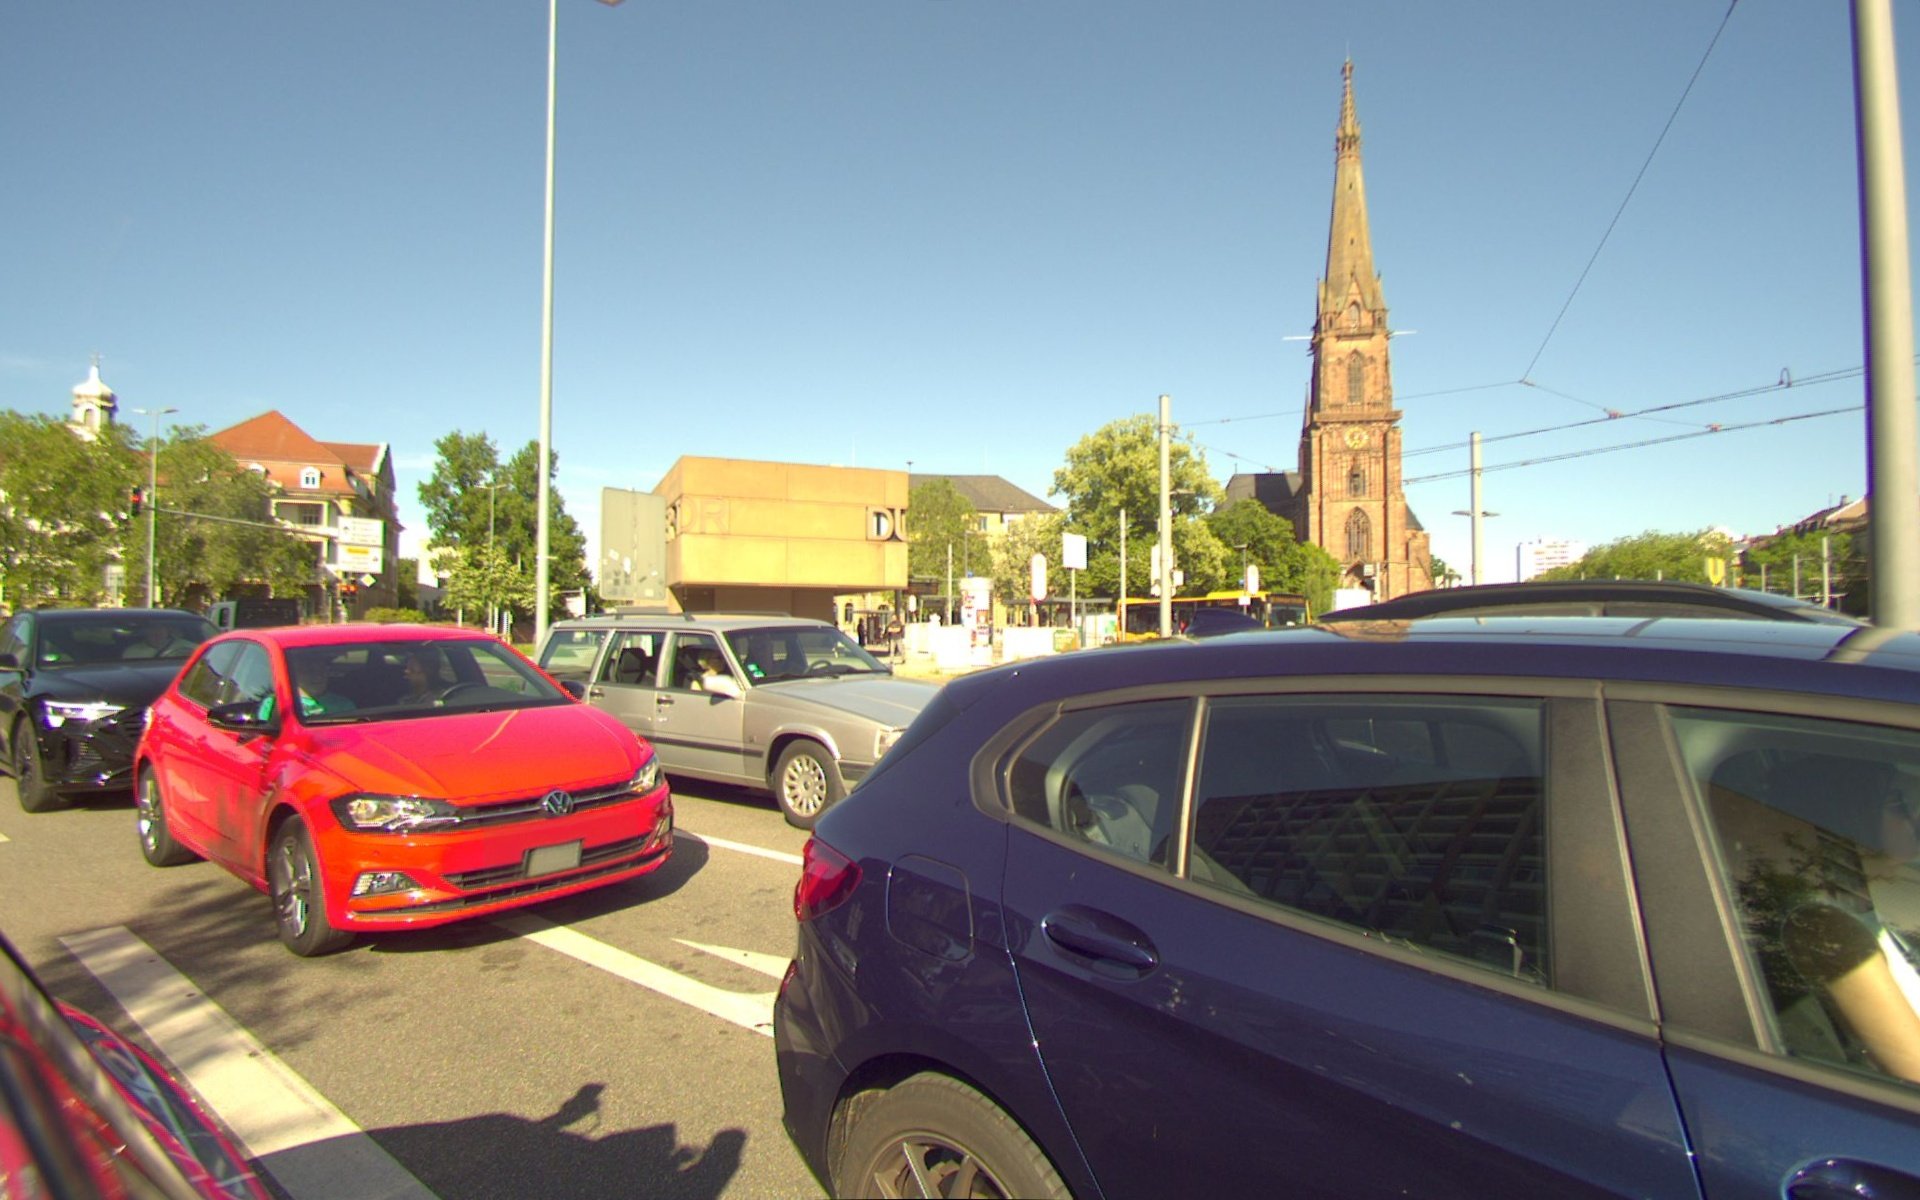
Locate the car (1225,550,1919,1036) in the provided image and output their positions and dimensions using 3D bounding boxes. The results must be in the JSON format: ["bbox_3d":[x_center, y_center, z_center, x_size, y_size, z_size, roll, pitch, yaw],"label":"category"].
[{"bbox_3d":[3.326,0.622,4.104,4.010,1.529,1.738,-2,-2,44],"label":"car"}]

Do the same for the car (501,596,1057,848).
[{"bbox_3d":[-1.689,0.808,8.208,4.745,1.484,1.692,-2,-1,38],"label":"car"}]

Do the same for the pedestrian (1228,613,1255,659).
[{"bbox_3d":[11.802,1.509,42.442,0.882,1.869,0.679,-2,-3,41],"label":"pedestrian"}]

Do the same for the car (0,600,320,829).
[{"bbox_3d":[-7.807,0.877,9.307,4.446,1.628,1.836,-1,-2,38],"label":"car"}]

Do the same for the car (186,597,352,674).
[{"bbox_3d":[-22.675,1.138,33.140,6.191,2.331,2.095,-1,-2,31],"label":"car"}]

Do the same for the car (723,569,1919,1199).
[{"bbox_3d":[1.572,0.694,1.391,4.030,1.456,1.692,-1,-1,42],"label":"car"}]

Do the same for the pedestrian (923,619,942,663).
[{"bbox_3d":[-1.123,1.653,41.048,0.634,1.789,0.470,1,-2,-29],"label":"pedestrian"}]

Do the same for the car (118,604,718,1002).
[{"bbox_3d":[-3.220,0.804,5.678,3.850,1.484,1.653,-2,-1,40],"label":"car"}]

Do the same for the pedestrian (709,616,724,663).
[{"bbox_3d":[-9.275,1.506,38.508,0.460,1.789,0.648,0,-2,-21],"label":"pedestrian"}]

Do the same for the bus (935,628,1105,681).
[{"bbox_3d":[1.512,1.369,26.159,4.174,1.251,1.627,-1,-2,35],"label":"bus"}]

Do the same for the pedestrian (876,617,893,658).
[{"bbox_3d":[-3.352,1.644,44.837,0.468,1.789,0.638,-2,-2,36],"label":"pedestrian"}]

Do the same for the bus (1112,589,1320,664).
[{"bbox_3d":[11.639,1.311,48.109,2.715,3.088,12.201,1,-2,-23],"label":"bus"}]

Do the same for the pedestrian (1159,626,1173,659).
[{"bbox_3d":[9.659,1.971,47.464,0.565,1.525,0.525,-1,-1,16],"label":"pedestrian"}]

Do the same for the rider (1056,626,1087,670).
[{"bbox_3d":[3.797,1.619,34.599,0.846,1.475,0.672,0,-2,-16],"label":"rider"}]

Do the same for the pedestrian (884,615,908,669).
[{"bbox_3d":[-2.180,1.420,34.567,0.660,1.802,0.644,-1,-1,8],"label":"pedestrian"}]

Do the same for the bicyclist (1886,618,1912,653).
[{"bbox_3d":[40.443,1.522,43.583,0.677,1.466,0.775,-2,-3,35],"label":"bicyclist"}]

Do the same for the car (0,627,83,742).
[{"bbox_3d":[-13.657,1.122,13.916,3.704,1.429,1.557,-1,-1,35],"label":"car"}]

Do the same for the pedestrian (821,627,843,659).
[{"bbox_3d":[-5.479,1.832,43.201,0.635,1.320,0.764,1,-2,-40],"label":"pedestrian"}]

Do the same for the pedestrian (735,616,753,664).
[{"bbox_3d":[-8.142,1.520,38.196,0.635,1.789,0.618,0,-2,-8],"label":"pedestrian"}]

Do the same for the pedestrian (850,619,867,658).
[{"bbox_3d":[-4.667,1.763,46.518,0.468,1.789,0.638,-2,-2,36],"label":"pedestrian"}]
